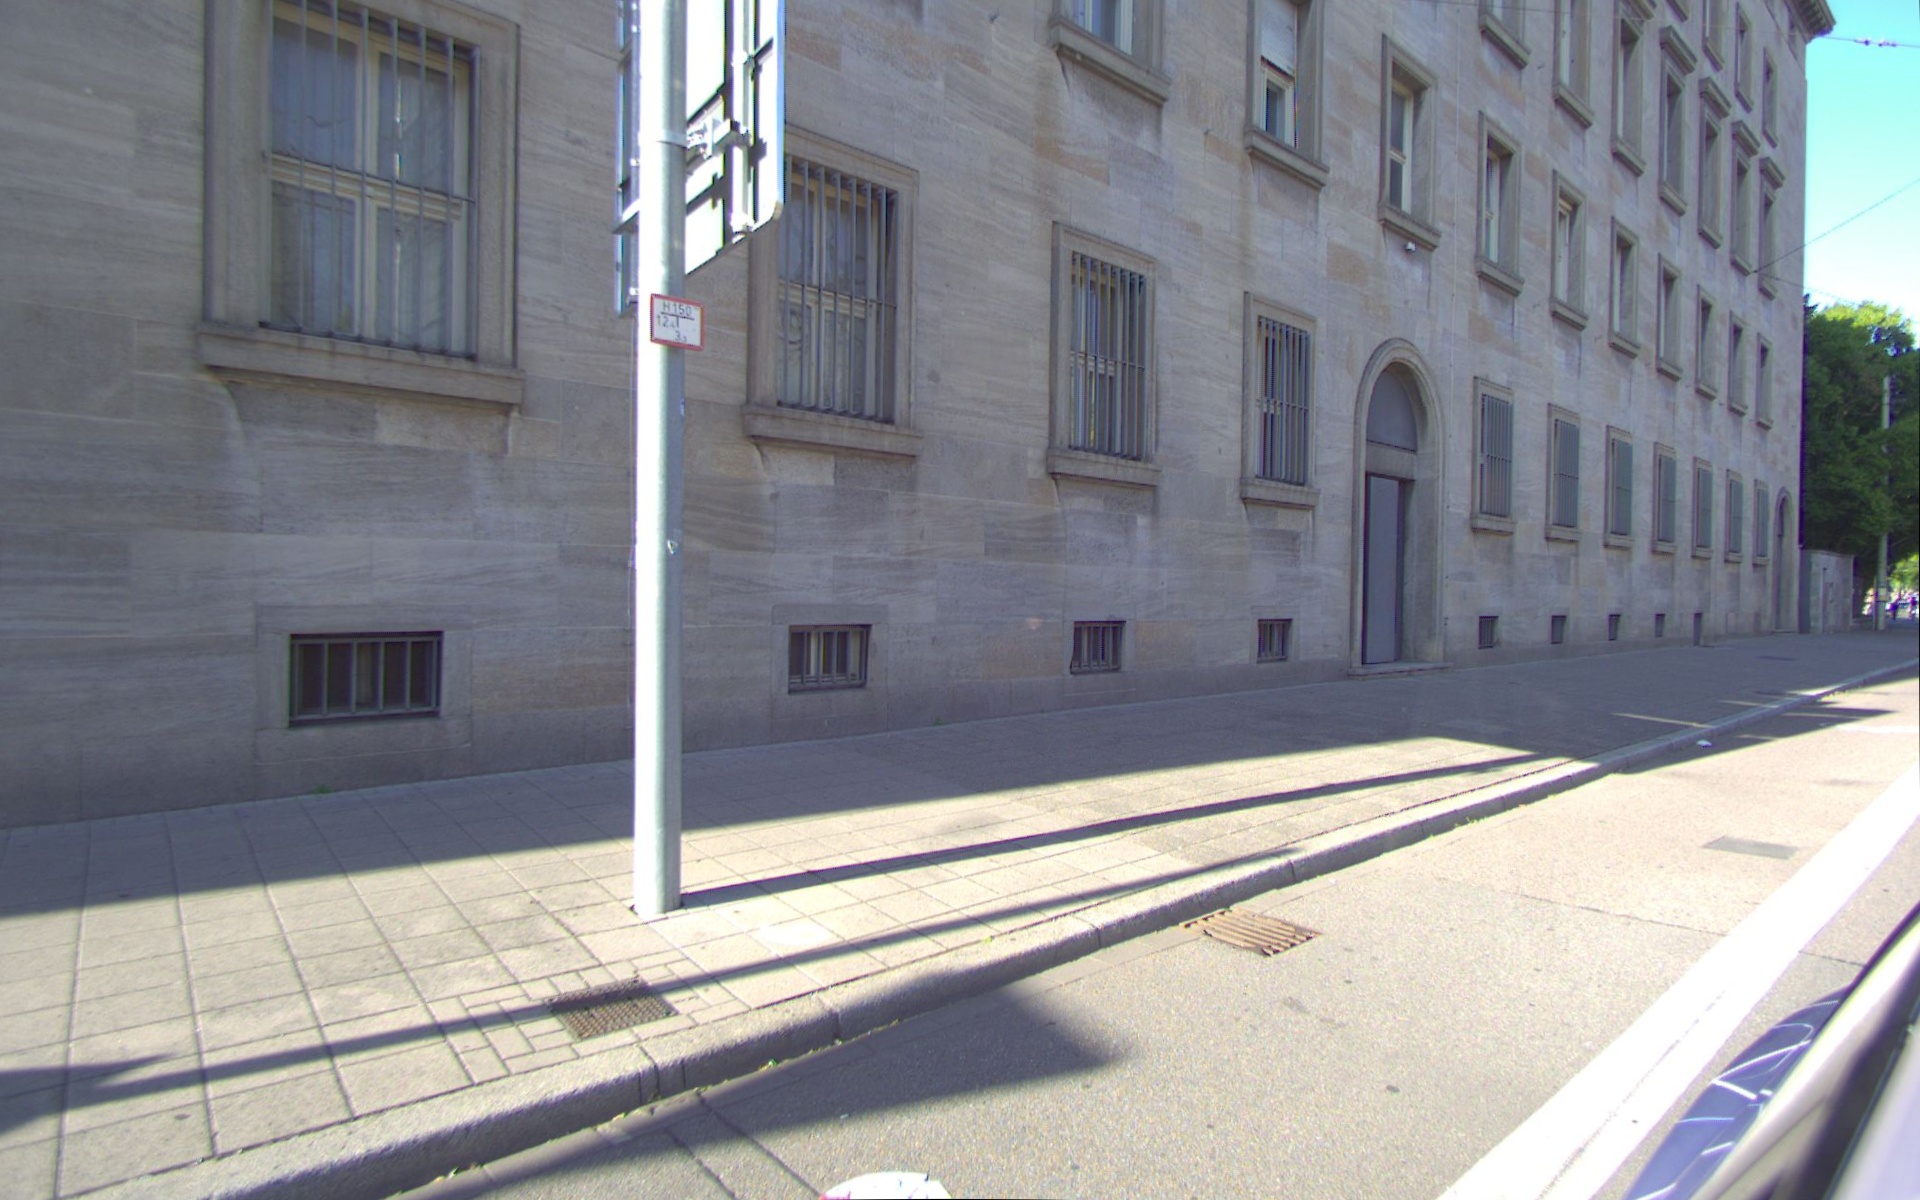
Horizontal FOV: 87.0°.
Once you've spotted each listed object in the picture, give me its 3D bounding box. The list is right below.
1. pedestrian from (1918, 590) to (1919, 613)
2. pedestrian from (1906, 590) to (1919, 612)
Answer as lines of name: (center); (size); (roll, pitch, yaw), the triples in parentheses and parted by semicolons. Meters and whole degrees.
pedestrian: (74.408, 0.131, 77.943); (0.791, 1.742, 0.870); (0, 1, -44)
pedestrian: (74.273, 0.063, 78.828); (0.828, 1.742, 0.792); (1, 1, 43)
